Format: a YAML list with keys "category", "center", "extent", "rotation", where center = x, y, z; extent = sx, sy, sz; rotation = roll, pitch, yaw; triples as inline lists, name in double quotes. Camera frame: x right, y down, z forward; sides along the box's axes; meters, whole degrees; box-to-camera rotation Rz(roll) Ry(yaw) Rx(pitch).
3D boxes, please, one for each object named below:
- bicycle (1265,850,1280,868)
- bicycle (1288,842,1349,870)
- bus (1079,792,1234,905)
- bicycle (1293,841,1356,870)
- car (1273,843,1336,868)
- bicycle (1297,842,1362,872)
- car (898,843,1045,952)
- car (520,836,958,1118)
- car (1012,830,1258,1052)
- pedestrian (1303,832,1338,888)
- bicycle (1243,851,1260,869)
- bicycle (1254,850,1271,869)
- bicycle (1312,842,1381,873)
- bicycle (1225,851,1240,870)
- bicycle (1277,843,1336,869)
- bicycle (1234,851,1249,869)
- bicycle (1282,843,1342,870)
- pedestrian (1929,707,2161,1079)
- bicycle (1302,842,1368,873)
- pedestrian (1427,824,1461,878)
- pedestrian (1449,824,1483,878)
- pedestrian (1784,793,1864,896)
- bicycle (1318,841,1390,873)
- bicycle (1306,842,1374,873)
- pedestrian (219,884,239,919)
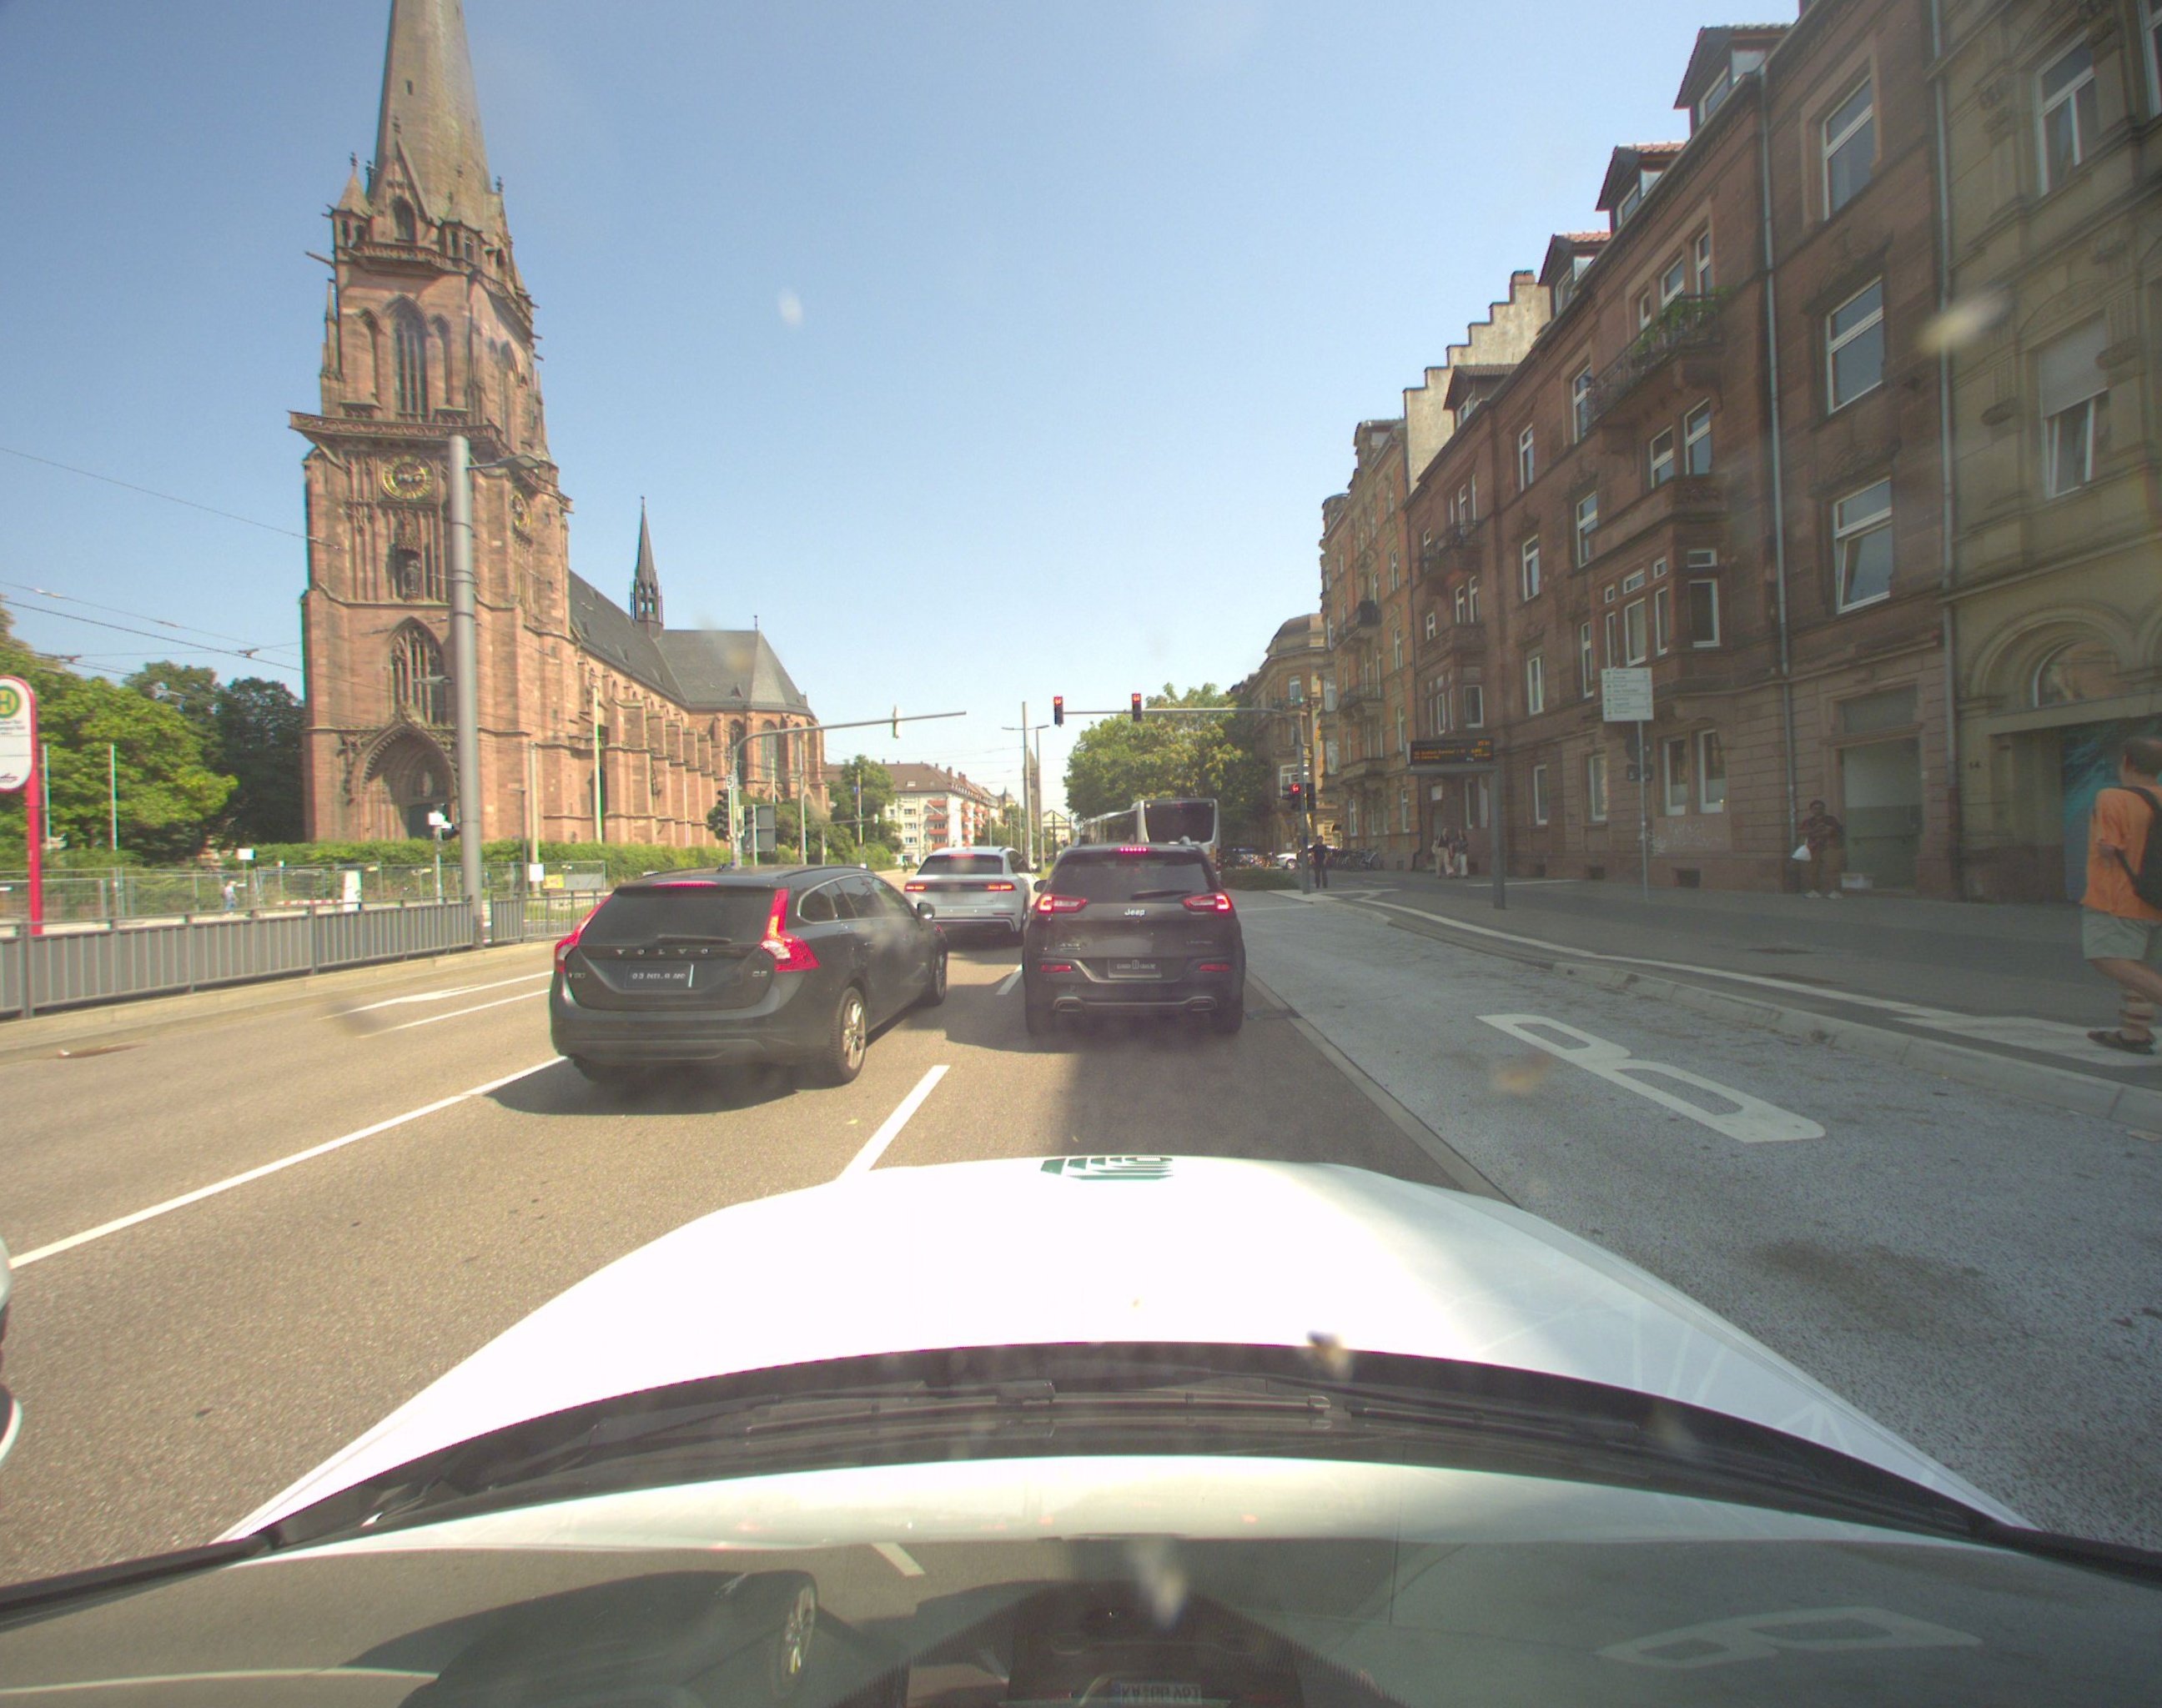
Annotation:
- category: "bicycle"
  center: [13.794, 0.333, 58.737]
  extent: [0.655, 1.249, 2.415]
  rotation: [-2, 0, 4]
- category: "bicycle"
  center: [12.727, 0.099, 43.672]
  extent: [2.993, 1.373, 0.948]
  rotation: [-2, 0, 1]
- category: "bus"
  center: [2.225, -0.090, 29.834]
  extent: [2.742, 3.107, 11.920]
  rotation: [-5, 0, -8]
- category: "bicycle"
  center: [12.733, 0.095, 42.661]
  extent: [2.993, 1.373, 0.948]
  rotation: [-2, 0, 1]
- category: "car"
  center: [15.686, 0.108, 57.275]
  extent: [3.926, 1.521, 1.679]
  rotation: [-2, 0, -6]
- category: "bicycle"
  center: [12.687, 0.141, 41.566]
  extent: [2.993, 1.373, 0.948]
  rotation: [-2, 0, 1]
- category: "car"
  center: [-1.781, 0.655, 14.691]
  extent: [1.895, 1.651, 4.310]
  rotation: [-1, 0, 2]
- category: "car"
  center: [-2.317, 0.712, 6.888]
  extent: [1.741, 1.614, 4.310]
  rotation: [-1, 0, 2]
- category: "car"
  center: [0.517, 0.650, 8.269]
  extent: [1.825, 1.651, 4.312]
  rotation: [-1, 0, 3]
- category: "pedestrian"
  center: [7.822, 0.185, 26.635]
  extent: [0.893, 1.741, 0.770]
  rotation: [-4, -1, 9]
- category: "bicycle"
  center: [12.193, 0.398, 58.326]
  extent: [0.729, 1.253, 3.017]
  rotation: [-2, 0, 4]
- category: "bicycle"
  center: [12.979, 0.366, 58.322]
  extent: [0.759, 1.253, 3.017]
  rotation: [-2, 0, 4]
- category: "bicycle"
  center: [12.612, 0.167, 38.762]
  extent: [2.983, 1.371, 0.871]
  rotation: [-2, 0, 1]
- category: "bicycle"
  center: [10.839, 0.455, 58.384]
  extent: [0.646, 1.253, 3.017]
  rotation: [-2, 0, 4]
- category: "bicycle"
  center: [12.726, 0.108, 46.032]
  extent: [2.993, 1.373, 0.948]
  rotation: [-2, 0, 1]
- category: "bicycle"
  center: [11.496, 0.425, 58.344]
  extent: [0.646, 1.253, 3.017]
  rotation: [-2, 0, 4]
- category: "bicycle"
  center: [12.733, 0.124, 44.990]
  extent: [2.993, 1.373, 0.948]
  rotation: [-2, 0, 1]
- category: "pedestrian"
  center: [5.615, 0.172, 4.326]
  extent: [0.958, 1.741, 1.242]
  rotation: [-2, 0, 9]
- category: "bicycle"
  center: [12.657, 0.179, 40.622]
  extent: [2.983, 1.371, 0.871]
  rotation: [-2, 0, 1]
- category: "pedestrian"
  center: [12.323, -0.089, 27.644]
  extent: [0.711, 1.776, 0.848]
  rotation: [-2, 0, 1]
- category: "pedestrian"
  center: [13.048, -0.113, 27.628]
  extent: [0.712, 1.778, 0.870]
  rotation: [-2, 0, 0]
- category: "pedestrian"
  center: [13.279, -0.167, 14.567]
  extent: [0.872, 1.778, 0.737]
  rotation: [-2, 0, -26]
- category: "bicycle"
  center: [12.674, 0.137, 37.853]
  extent: [2.983, 1.371, 0.871]
  rotation: [-2, 0, 1]
- category: "bicycle"
  center: [12.603, 0.184, 39.675]
  extent: [2.983, 1.371, 0.871]
  rotation: [-2, 0, 1]
- category: "pedestrian"
  center: [-38.359, 2.122, 36.658]
  extent: [0.430, 1.531, 0.548]
  rotation: [-3, 0, 36]
